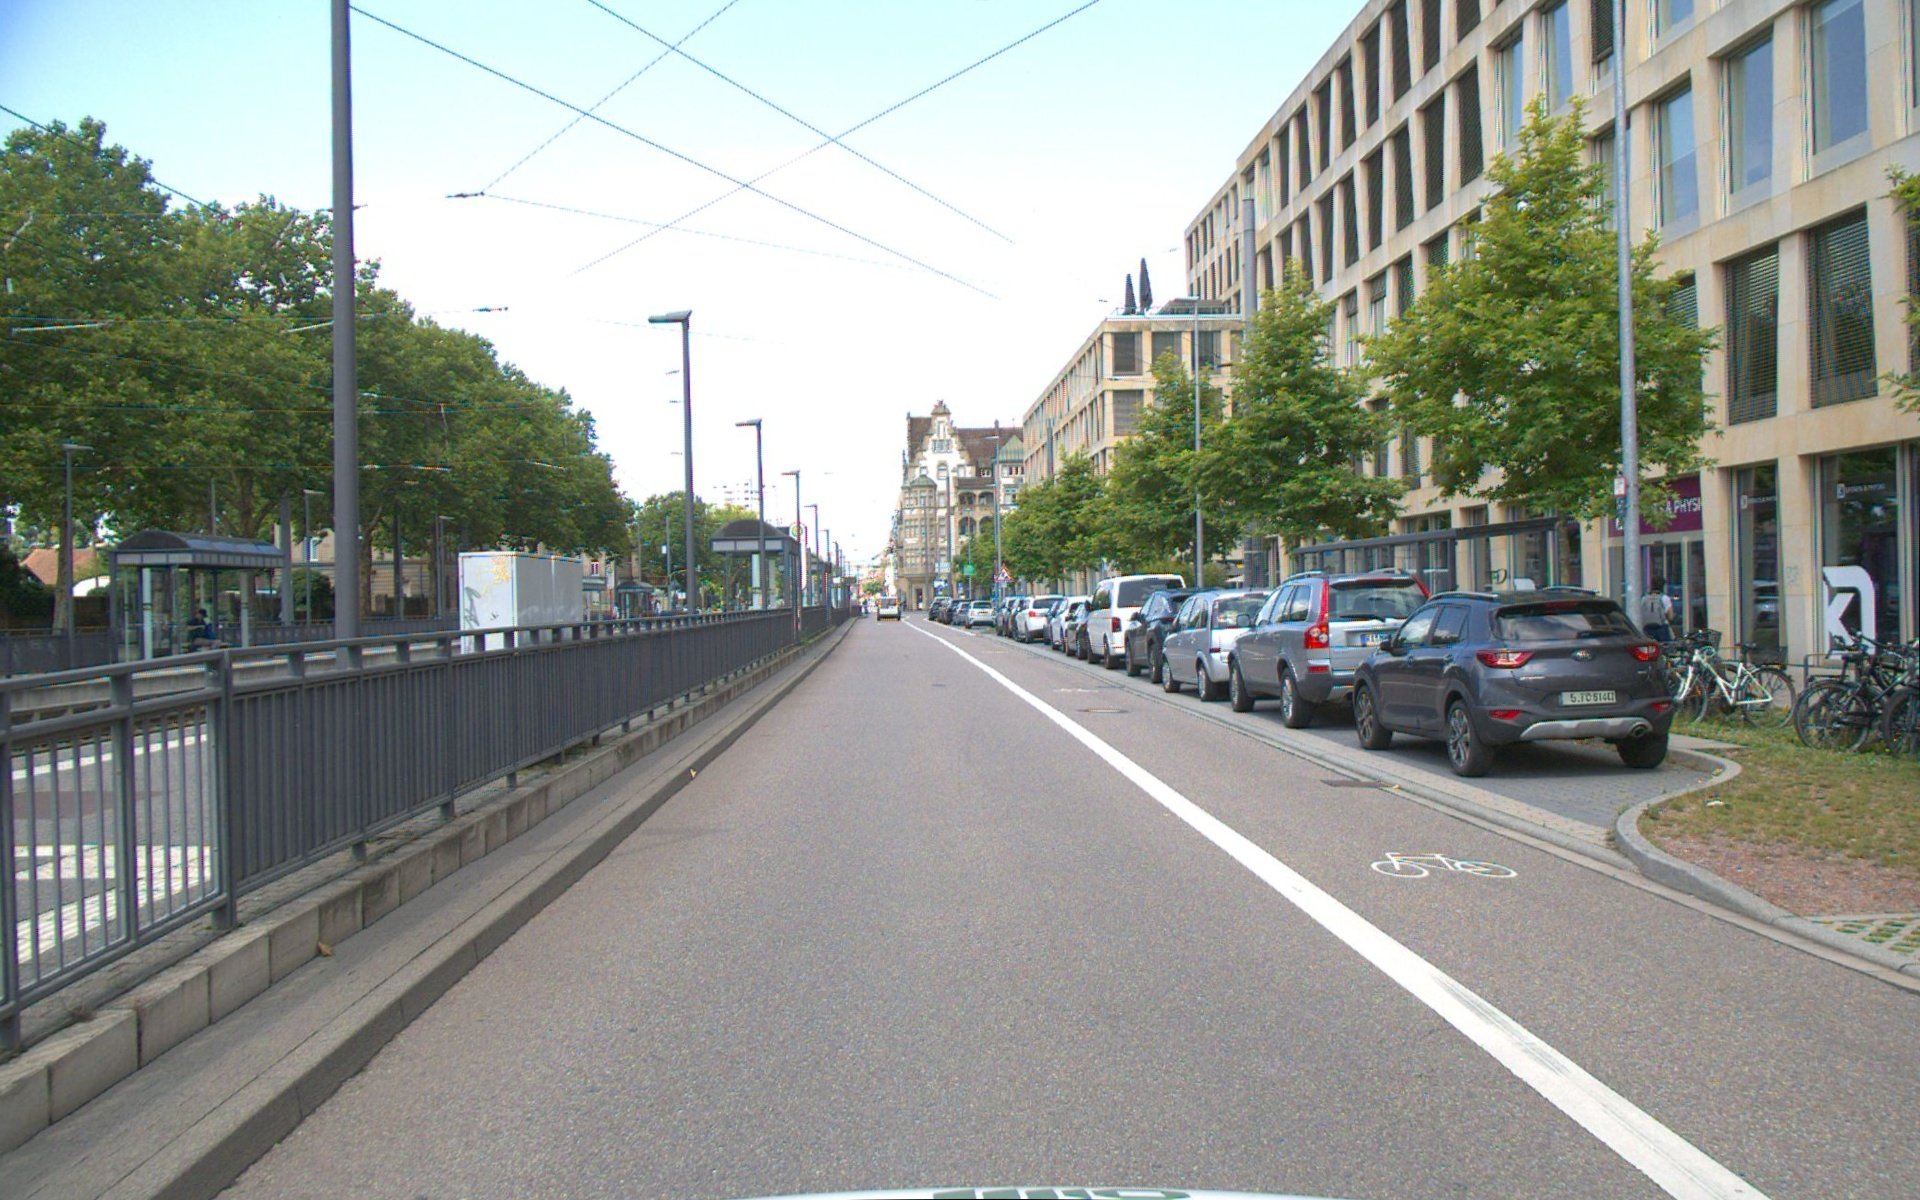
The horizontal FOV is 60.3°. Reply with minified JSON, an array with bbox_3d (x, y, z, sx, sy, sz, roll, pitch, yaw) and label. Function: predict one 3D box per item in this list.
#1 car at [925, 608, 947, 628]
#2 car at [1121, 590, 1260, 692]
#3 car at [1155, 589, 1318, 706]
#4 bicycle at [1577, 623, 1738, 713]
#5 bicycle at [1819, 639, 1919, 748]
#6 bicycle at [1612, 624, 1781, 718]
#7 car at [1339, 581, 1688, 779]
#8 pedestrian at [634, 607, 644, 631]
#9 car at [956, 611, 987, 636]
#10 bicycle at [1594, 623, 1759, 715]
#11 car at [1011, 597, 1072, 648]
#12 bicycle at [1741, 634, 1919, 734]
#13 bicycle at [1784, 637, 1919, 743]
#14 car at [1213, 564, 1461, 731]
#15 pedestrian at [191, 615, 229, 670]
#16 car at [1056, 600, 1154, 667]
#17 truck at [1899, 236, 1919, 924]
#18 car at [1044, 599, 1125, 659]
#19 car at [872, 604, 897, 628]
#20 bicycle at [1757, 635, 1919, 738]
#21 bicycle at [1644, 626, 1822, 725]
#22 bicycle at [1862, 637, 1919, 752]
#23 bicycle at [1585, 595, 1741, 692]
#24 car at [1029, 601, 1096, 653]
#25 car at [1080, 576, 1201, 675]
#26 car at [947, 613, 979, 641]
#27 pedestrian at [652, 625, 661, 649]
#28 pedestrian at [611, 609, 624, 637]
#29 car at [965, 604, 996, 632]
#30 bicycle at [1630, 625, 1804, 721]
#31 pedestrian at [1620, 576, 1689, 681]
[{"bbox_3d":[-1.872,1.371,128.572,1.415,1.496,4.088,0,0,-5],"label":"car"},{"bbox_3d":[4.212,0.700,30.901,1.687,1.669,4.524,-3,0,-3],"label":"car"},{"bbox_3d":[4.247,0.674,25.942,1.687,1.648,3.857,-2,0,-3],"label":"car"},{"bbox_3d":[8.615,0.834,20.452,1.805,1.011,0.439,3,-1,-5],"label":"bicycle"},{"bbox_3d":[8.873,0.844,15.127,1.805,0.956,0.512,0,0,-5],"label":"bicycle"},{"bbox_3d":[8.684,0.832,19.509,1.805,1.011,0.439,3,-1,-5],"label":"bicycle"},{"bbox_3d":[4.906,0.631,15.291,1.657,1.531,4.065,-2,0,-3],"label":"car"},{"bbox_3d":[-21.154,1.267,109.035,0.490,1.585,0.643,-1,0,-3],"label":"pedestrian"},{"bbox_3d":[0.703,1.424,101.880,1.560,1.459,4.103,0,0,-5],"label":"car"},{"bbox_3d":[8.643,0.833,19.972,1.805,1.011,0.439,3,-1,-5],"label":"bicycle"},{"bbox_3d":[2.817,0.770,58.061,1.652,1.634,4.149,-3,0,-3],"label":"car"},{"bbox_3d":[8.799,0.828,16.541,1.805,0.956,0.439,0,0,-5],"label":"bicycle"},{"bbox_3d":[8.778,0.838,15.626,1.805,0.956,0.439,0,0,-5],"label":"bicycle"},{"bbox_3d":[4.547,0.511,20.710,1.734,1.798,4.837,-2,0,-3],"label":"car"},{"bbox_3d":[-18.040,1.013,39.784,0.541,1.291,0.767,-1,0,-1],"label":"pedestrian"},{"bbox_3d":[3.674,0.820,42.632,1.844,1.513,4.560,-2,0,-3],"label":"car"},{"bbox_3d":[7.430,-0.154,6.085,6.674,2.917,2.452,-2,0,-6],"label":"truck"},{"bbox_3d":[3.548,0.796,47.913,1.757,1.556,4.156,-3,0,-3],"label":"car"},{"bbox_3d":[-5.861,1.220,127.593,1.832,1.777,3.997,0,0,-4],"label":"car"},{"bbox_3d":[8.745,0.833,16.088,1.805,0.956,0.439,0,0,-5],"label":"bicycle"},{"bbox_3d":[8.669,0.842,18.561,1.805,1.011,0.439,3,-1,-5],"label":"bicycle"},{"bbox_3d":[8.835,0.805,14.324,1.805,0.956,0.512,0,0,-5],"label":"bicycle"},{"bbox_3d":[9.103,0.557,21.433,1.805,1.145,0.480,-3,0,-5],"label":"bicycle"},{"bbox_3d":[3.252,0.835,52.979,1.652,1.483,3.948,-3,0,-3],"label":"car"},{"bbox_3d":[3.953,0.521,37.018,1.844,1.973,4.840,-3,0,-3],"label":"car"},{"bbox_3d":[0.179,1.753,107.634,1.704,1.698,4.836,0,0,-5],"label":"car"},{"bbox_3d":[-21.924,2.655,119.530,0.490,1.712,0.643,-3,1,-3],"label":"pedestrian"},{"bbox_3d":[-19.867,1.328,95.983,0.689,1.539,0.801,-2,0,-11],"label":"pedestrian"},{"bbox_3d":[1.094,0.981,90.627,1.559,1.486,3.611,0,0,-2],"label":"car"},{"bbox_3d":[8.708,0.832,19.041,1.805,1.011,0.439,3,-1,-5],"label":"bicycle"},{"bbox_3d":[10.711,0.432,25.542,0.624,1.578,0.905,-1,0,-3],"label":"pedestrian"}]
